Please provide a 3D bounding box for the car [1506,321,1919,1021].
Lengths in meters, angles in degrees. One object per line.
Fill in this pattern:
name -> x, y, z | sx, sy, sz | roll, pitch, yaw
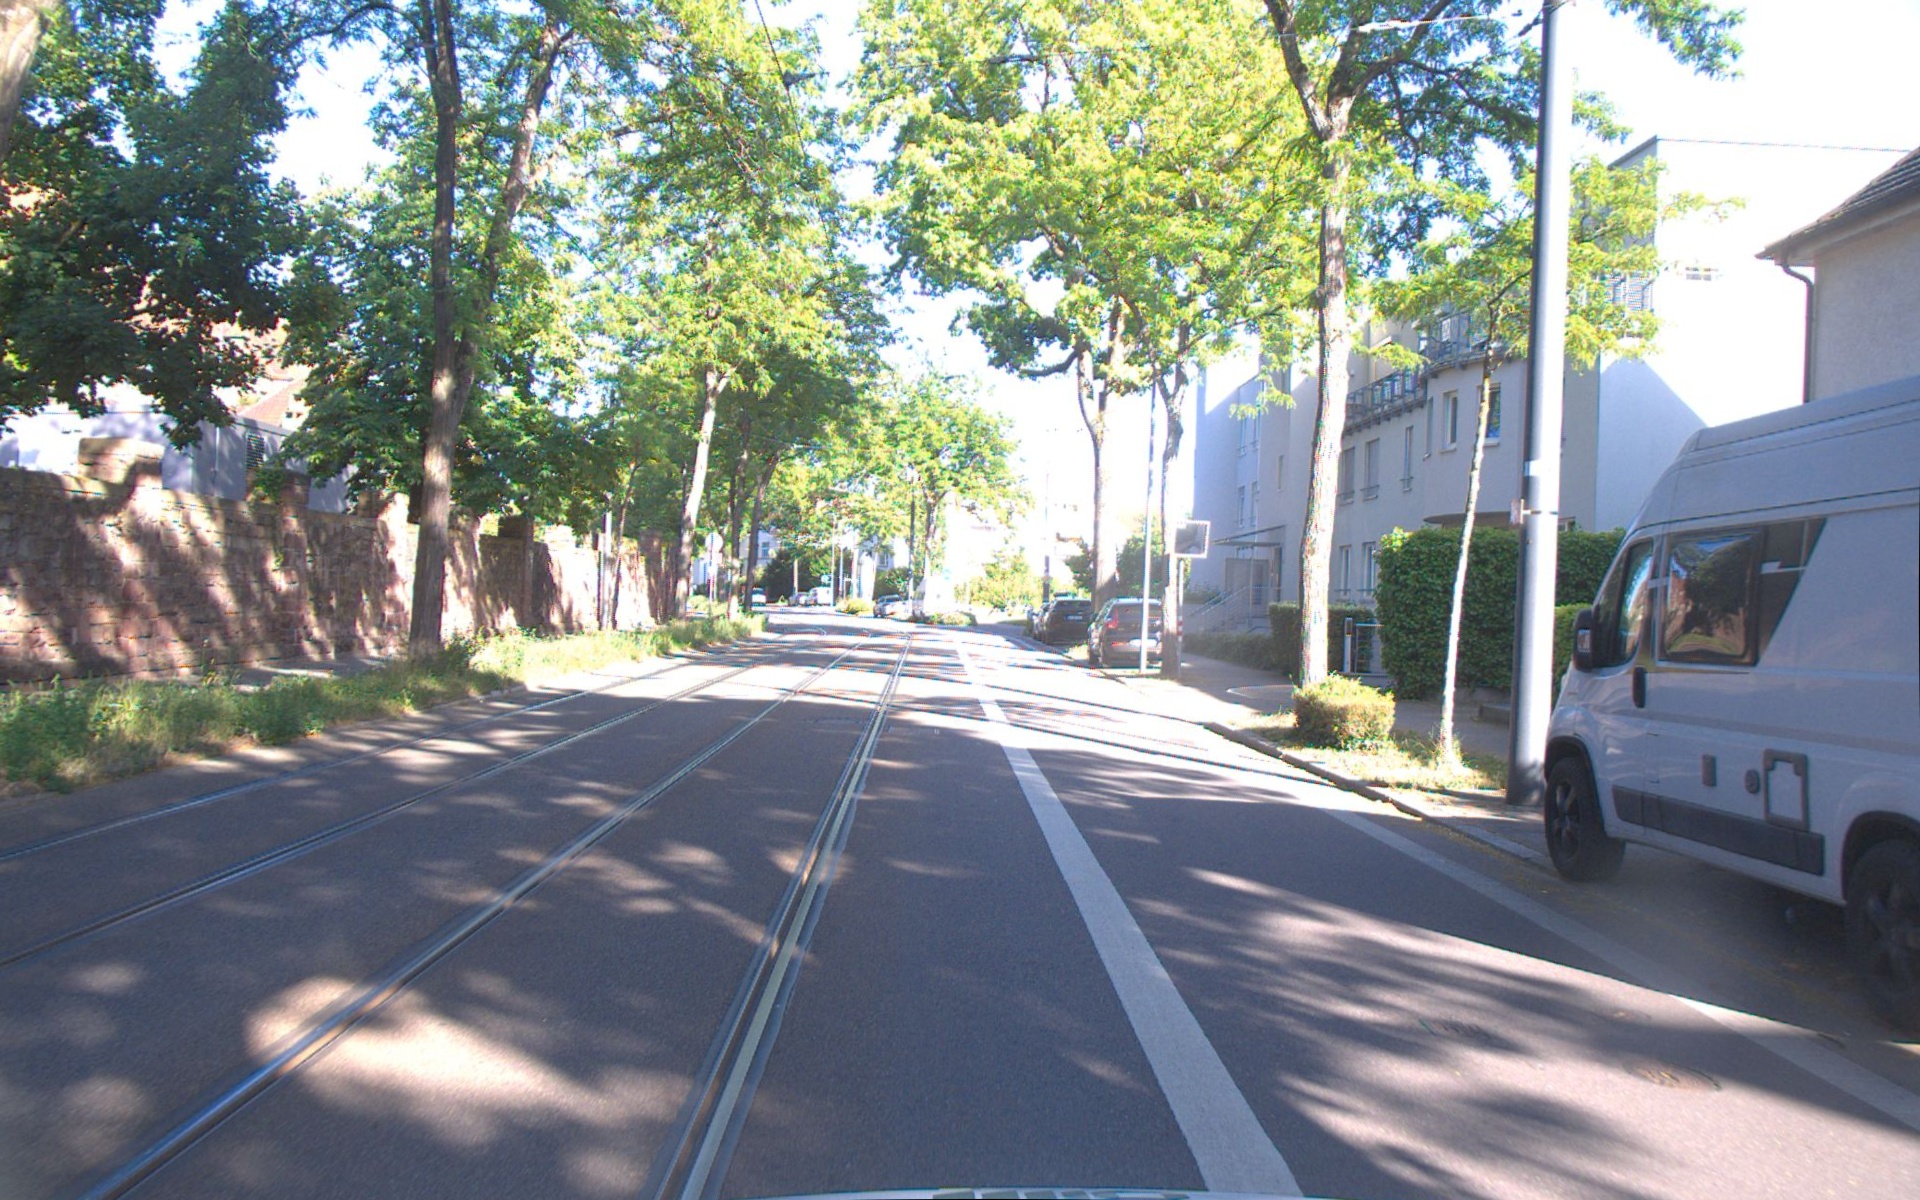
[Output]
car -> 4.768, 0.273, 8.164 | 2.200, 2.700, 5.584 | 0, 0, -1

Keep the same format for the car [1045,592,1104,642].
car -> 3.967, 0.565, 57.694 | 1.961, 1.704, 4.394 | 0, 0, 3

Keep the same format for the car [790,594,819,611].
car -> -15.704, 0.277, 166.923 | 1.972, 1.704, 4.151 | 0, 0, -18

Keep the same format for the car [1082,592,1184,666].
car -> 4.155, 0.662, 40.383 | 1.962, 1.704, 4.391 | 0, 0, -1

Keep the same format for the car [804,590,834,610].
car -> -13.787, 0.021, 161.110 | 1.972, 1.943, 4.369 | 0, 0, -18

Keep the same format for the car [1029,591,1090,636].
car -> 3.799, 0.495, 63.595 | 1.962, 1.704, 4.391 | 0, 0, -2

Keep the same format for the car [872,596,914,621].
car -> -4.537, 0.541, 111.472 | 1.968, 1.588, 4.377 | 1, 0, -13

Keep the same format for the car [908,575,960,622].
car -> -1.482, -0.097, 93.593 | 1.960, 2.501, 4.493 | 1, 0, -14

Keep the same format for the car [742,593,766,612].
car -> -19.572, 0.197, 157.328 | 1.834, 1.704, 4.159 | 1, 0, -13
